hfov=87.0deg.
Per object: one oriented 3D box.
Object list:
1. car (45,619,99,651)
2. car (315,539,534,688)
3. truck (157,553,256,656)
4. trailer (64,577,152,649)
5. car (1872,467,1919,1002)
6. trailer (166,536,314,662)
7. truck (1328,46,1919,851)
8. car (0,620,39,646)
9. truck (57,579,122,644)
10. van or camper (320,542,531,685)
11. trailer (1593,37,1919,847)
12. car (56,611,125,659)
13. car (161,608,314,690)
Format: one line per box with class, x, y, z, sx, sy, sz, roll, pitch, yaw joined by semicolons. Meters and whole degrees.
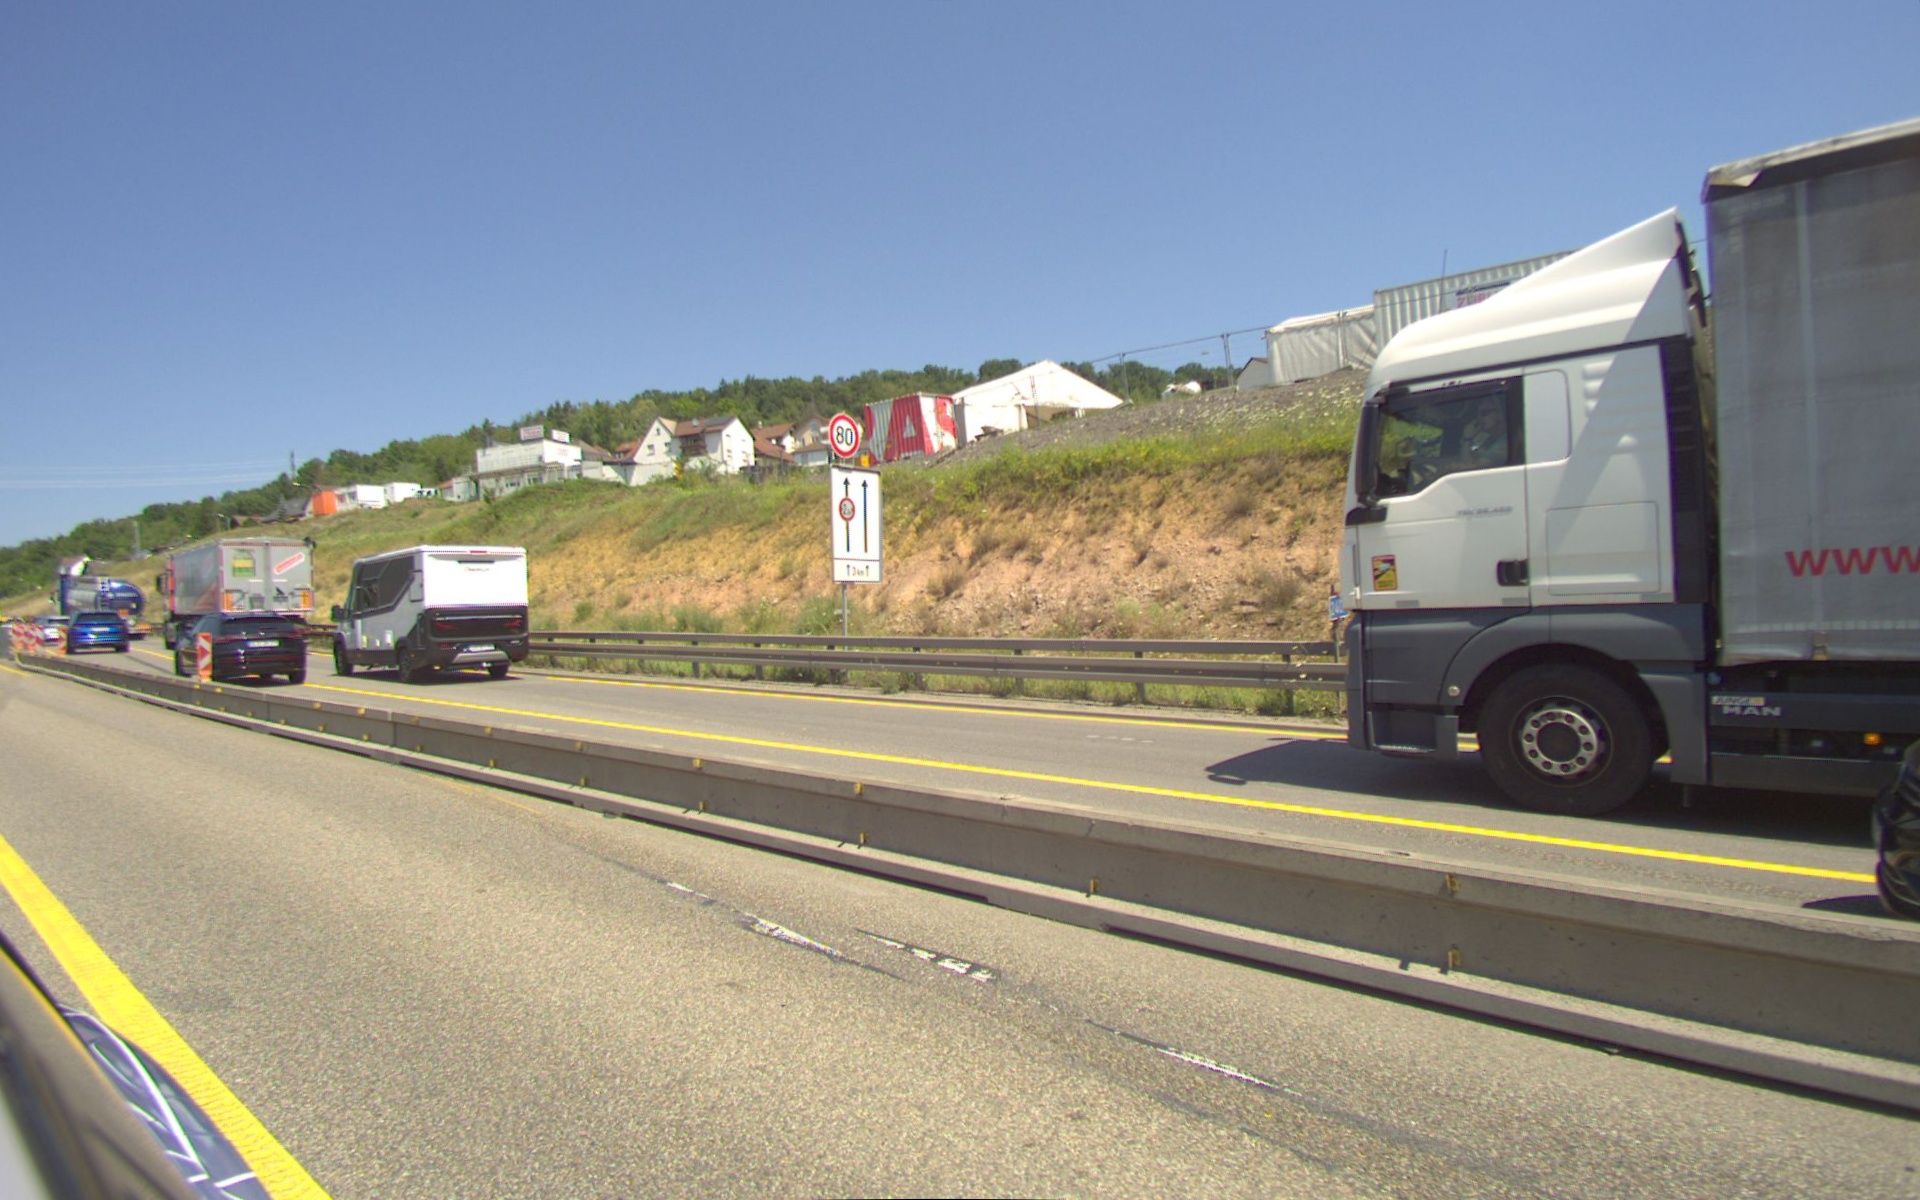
car;-44.752;1.732;50.982;1.812;1.440;4.538;-1;0;-44
car;-11.976;0.258;22.342;6.559;2.842;2.250;-1;0;43
truck;-30.439;0.155;40.811;2.555;3.857;5.385;-1;0;-43
trailer;-50.448;0.724;59.764;11.273;3.899;2.572;0;0;43
car;5.473;0.380;2.558;4.606;1.769;1.836;-2;0;41
trailer;-25.942;-0.027;36.119;2.624;3.844;11.831;-1;0;-44
truck;5.081;-0.794;6.994;4.070;4.181;2.770;-1;0;39
car;-59.244;2.032;63.596;1.812;1.530;4.846;-1;0;-44
truck;-55.128;0.692;64.046;4.588;4.006;2.555;-1;0;42
van or camper;-11.922;0.302;22.293;6.455;2.725;2.100;-1;-1;43
trailer;7.920;-0.854;4.607;8.237;4.205;2.784;-1;0;40
car;-33.445;1.288;38.883;1.812;1.676;4.689;-1;1;-43
car;-15.267;0.996;21.310;4.185;1.529;1.735;-2;-1;42
